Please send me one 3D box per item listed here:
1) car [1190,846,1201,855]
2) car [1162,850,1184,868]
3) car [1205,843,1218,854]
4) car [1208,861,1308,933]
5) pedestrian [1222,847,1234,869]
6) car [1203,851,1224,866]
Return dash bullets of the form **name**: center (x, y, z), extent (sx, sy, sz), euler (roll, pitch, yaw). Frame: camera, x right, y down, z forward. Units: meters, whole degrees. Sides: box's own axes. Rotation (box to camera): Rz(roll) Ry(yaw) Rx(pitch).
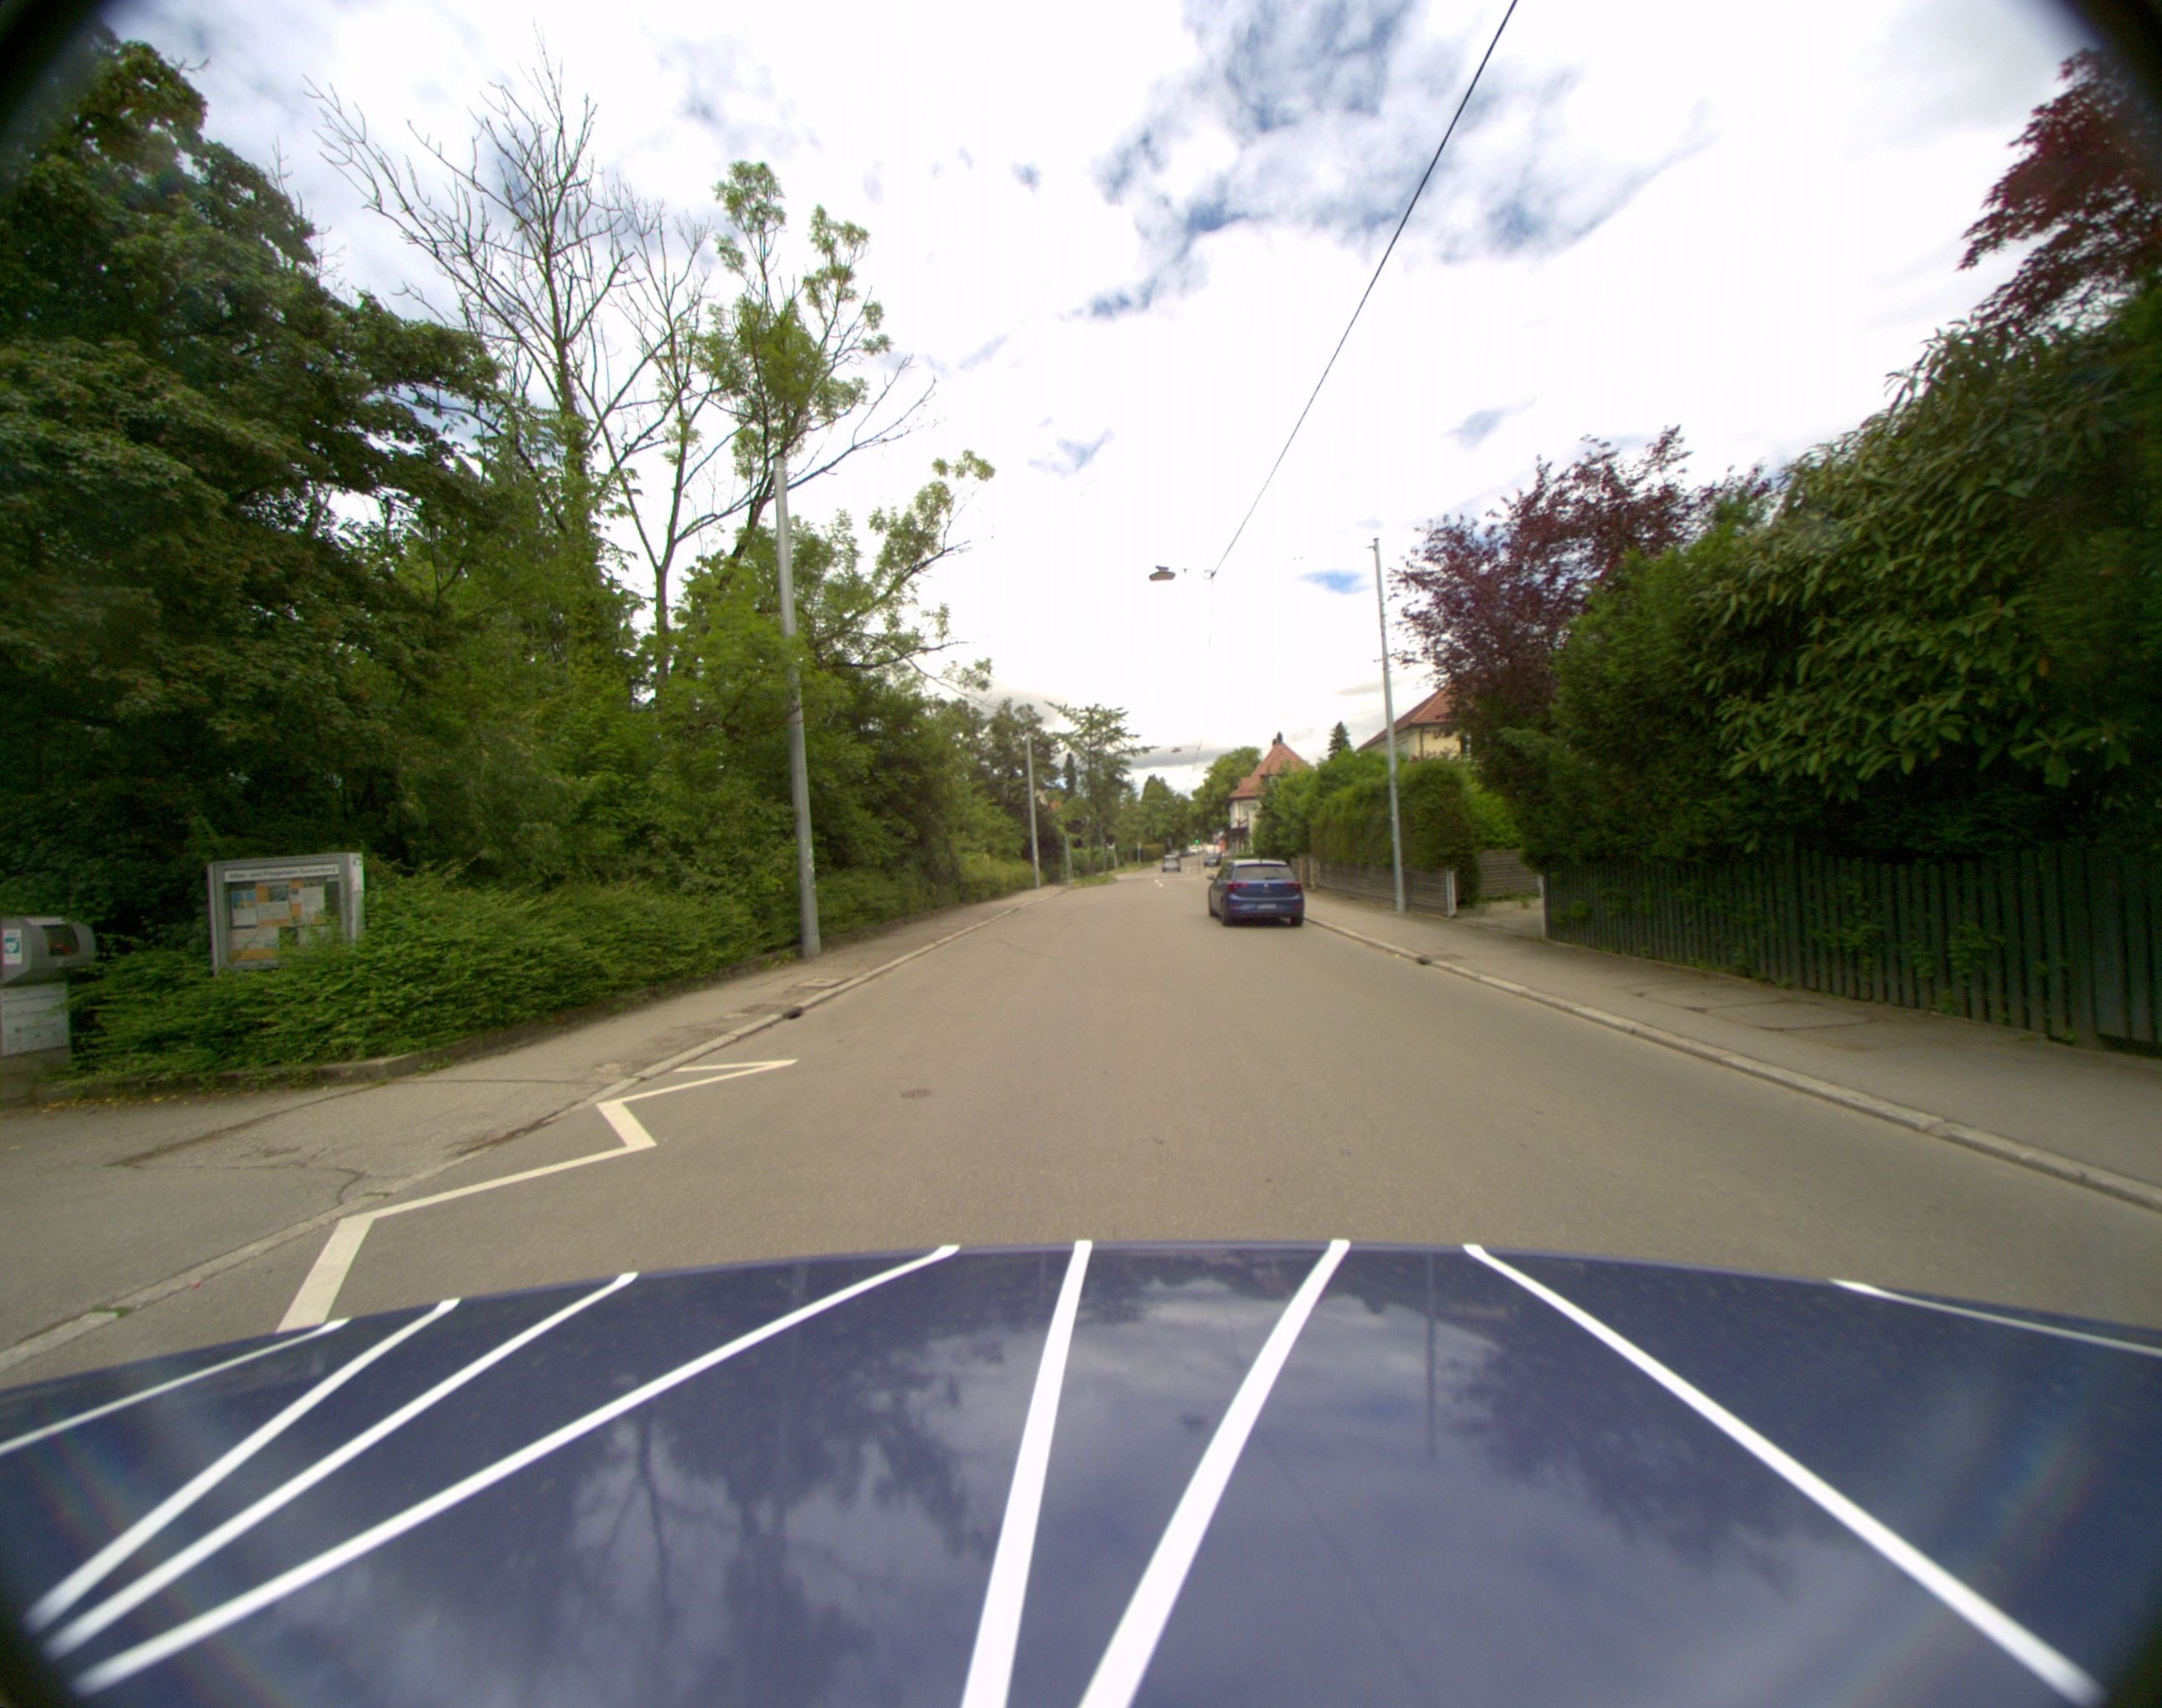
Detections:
- **car**: center (23.356, -0.780, 155.196), extent (1.998, 1.686, 4.001), euler (-5, 0, 5)
- **car**: center (9.055, 0.465, 75.196), extent (1.844, 1.646, 4.139), euler (0, 1, 3)
- **car**: center (24.569, -1.054, 142.805), extent (1.884, 1.905, 4.834), euler (-7, 0, 5)
- **car**: center (3.960, 0.915, 17.587), extent (1.697, 1.423, 3.928), euler (0, 0, 5)
- **pedestrian**: center (11.854, 0.330, 61.253), extent (0.821, 1.734, 0.604), euler (-5, 1, 6)
- **car**: center (14.192, 0.492, 81.242), extent (1.821, 1.343, 3.395), euler (-5, 0, 16)
